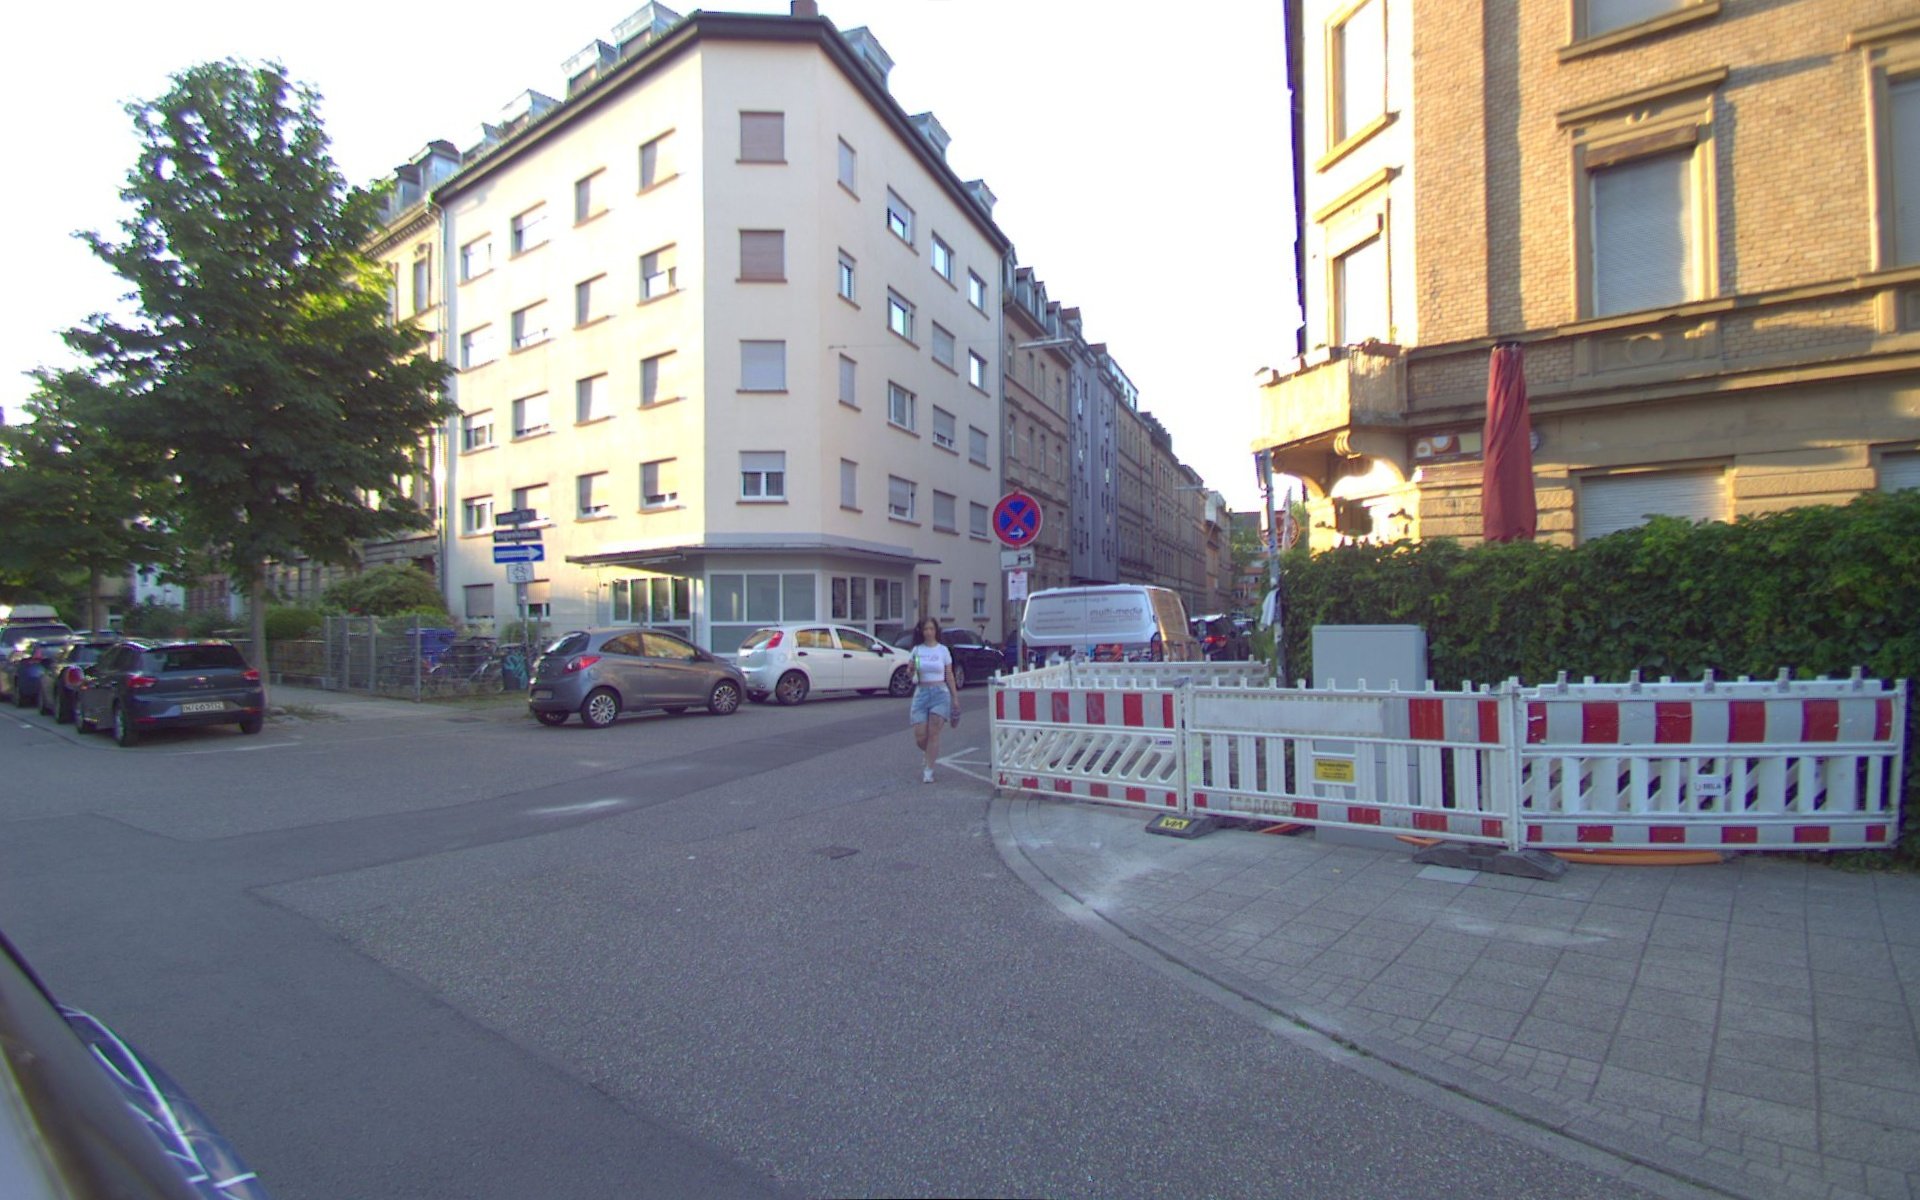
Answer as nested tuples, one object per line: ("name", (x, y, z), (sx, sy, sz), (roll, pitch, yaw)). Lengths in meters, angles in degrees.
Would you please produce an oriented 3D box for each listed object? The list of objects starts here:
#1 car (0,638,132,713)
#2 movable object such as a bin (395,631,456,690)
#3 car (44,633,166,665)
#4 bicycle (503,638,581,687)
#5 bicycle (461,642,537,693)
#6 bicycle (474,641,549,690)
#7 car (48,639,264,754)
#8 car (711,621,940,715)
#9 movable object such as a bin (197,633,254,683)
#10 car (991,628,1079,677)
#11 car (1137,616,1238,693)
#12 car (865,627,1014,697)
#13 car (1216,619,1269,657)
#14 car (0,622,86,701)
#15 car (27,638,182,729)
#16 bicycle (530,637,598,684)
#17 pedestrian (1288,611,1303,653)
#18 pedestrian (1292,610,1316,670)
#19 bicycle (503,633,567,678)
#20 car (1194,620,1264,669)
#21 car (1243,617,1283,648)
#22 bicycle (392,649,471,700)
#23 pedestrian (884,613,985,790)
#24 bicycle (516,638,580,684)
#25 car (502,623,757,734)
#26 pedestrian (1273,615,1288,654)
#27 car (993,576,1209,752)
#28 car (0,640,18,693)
("car", (-19.864, 1.575, 22.152), (4.586, 1.423, 1.843), (-2, -1, 40))
("movable object such as a bin", (-13.043, 1.464, 24.685), (1.398, 1.362, 0.857), (-2, 0, 42))
("car", (-41.847, 2.359, 49.611), (1.625, 1.351, 4.356), (-2, -1, 41))
("bicycle", (-9.969, 1.482, 24.147), (1.689, 1.100, 0.384), (-2, 0, 4))
("bicycle", (-10.567, 1.543, 23.216), (1.528, 1.100, 0.500), (-2, 0, 3))
("bicycle", (-10.506, 1.530, 23.731), (1.528, 1.100, 0.500), (-2, 0, 3))
("car", (-12.410, 1.361, 15.521), (4.458, 1.473, 1.658), (-2, -1, 39))
("car", (-2.608, 1.252, 19.981), (4.007, 1.520, 1.978), (-2, 0, -37))
("movable object such as a bin", (-21.784, 1.698, 30.005), (1.549, 1.398, 0.937), (-2, 0, 37))
("car", (2.420, 1.624, 31.808), (1.860, 1.419, 3.976), (-2, -2, 18))
("car", (5.251, 1.190, 22.991), (2.005, 1.583, 3.898), (-2, -2, 16))
("car", (-0.385, 1.398, 23.768), (1.986, 1.450, 4.046), (-2, -2, 24))
("car", (11.505, 1.526, 41.118), (1.774, 1.470, 3.973), (-2, -2, 20))
("car", (-23.610, 1.483, 25.363), (4.619, 1.792, 1.843), (-2, -1, 40))
("car", (-15.904, 1.452, 18.737), (4.142, 1.431, 1.723), (-2, -1, 43))
("bicycle", (-10.225, 1.546, 26.191), (0.499, 1.100, 1.617), (-2, 0, 34))
("pedestrian", (14.751, 1.383, 44.481), (0.589, 1.820, 0.495), (-2, 0, 18))
("pedestrian", (9.924, 1.139, 29.199), (0.589, 1.699, 0.495), (-2, 0, 18))
("bicycle", (-11.269, 1.463, 26.873), (0.499, 1.100, 1.531), (-2, 0, 34))
("car", (8.674, 1.387, 32.408), (1.830, 1.438, 3.973), (-2, -2, 20))
("car", (16.217, 1.725, 54.013), (1.875, 1.569, 3.975), (-2, -2, 19))
("bicycle", (-11.419, 1.589, 21.845), (1.927, 1.033, 0.681), (-2, 0, 35))
("pedestrian", (-0.239, 0.960, 9.934), (0.707, 1.630, 0.781), (-2, 0, 21))
("bicycle", (-10.772, 1.588, 26.505), (0.499, 1.100, 1.531), (-2, 0, 34))
("car", (-5.256, 1.192, 16.368), (1.843, 1.519, 3.471), (-3, -2, 40))
("pedestrian", (14.176, 1.541, 44.723), (0.589, 1.699, 0.495), (-2, 0, 18))
("car", (2.231, 0.811, 14.342), (2.190, 1.990, 5.264), (-2, -2, 17))
("car", (-28.662, 1.914, 29.150), (4.020, 1.452, 1.711), (-2, -1, 39))
